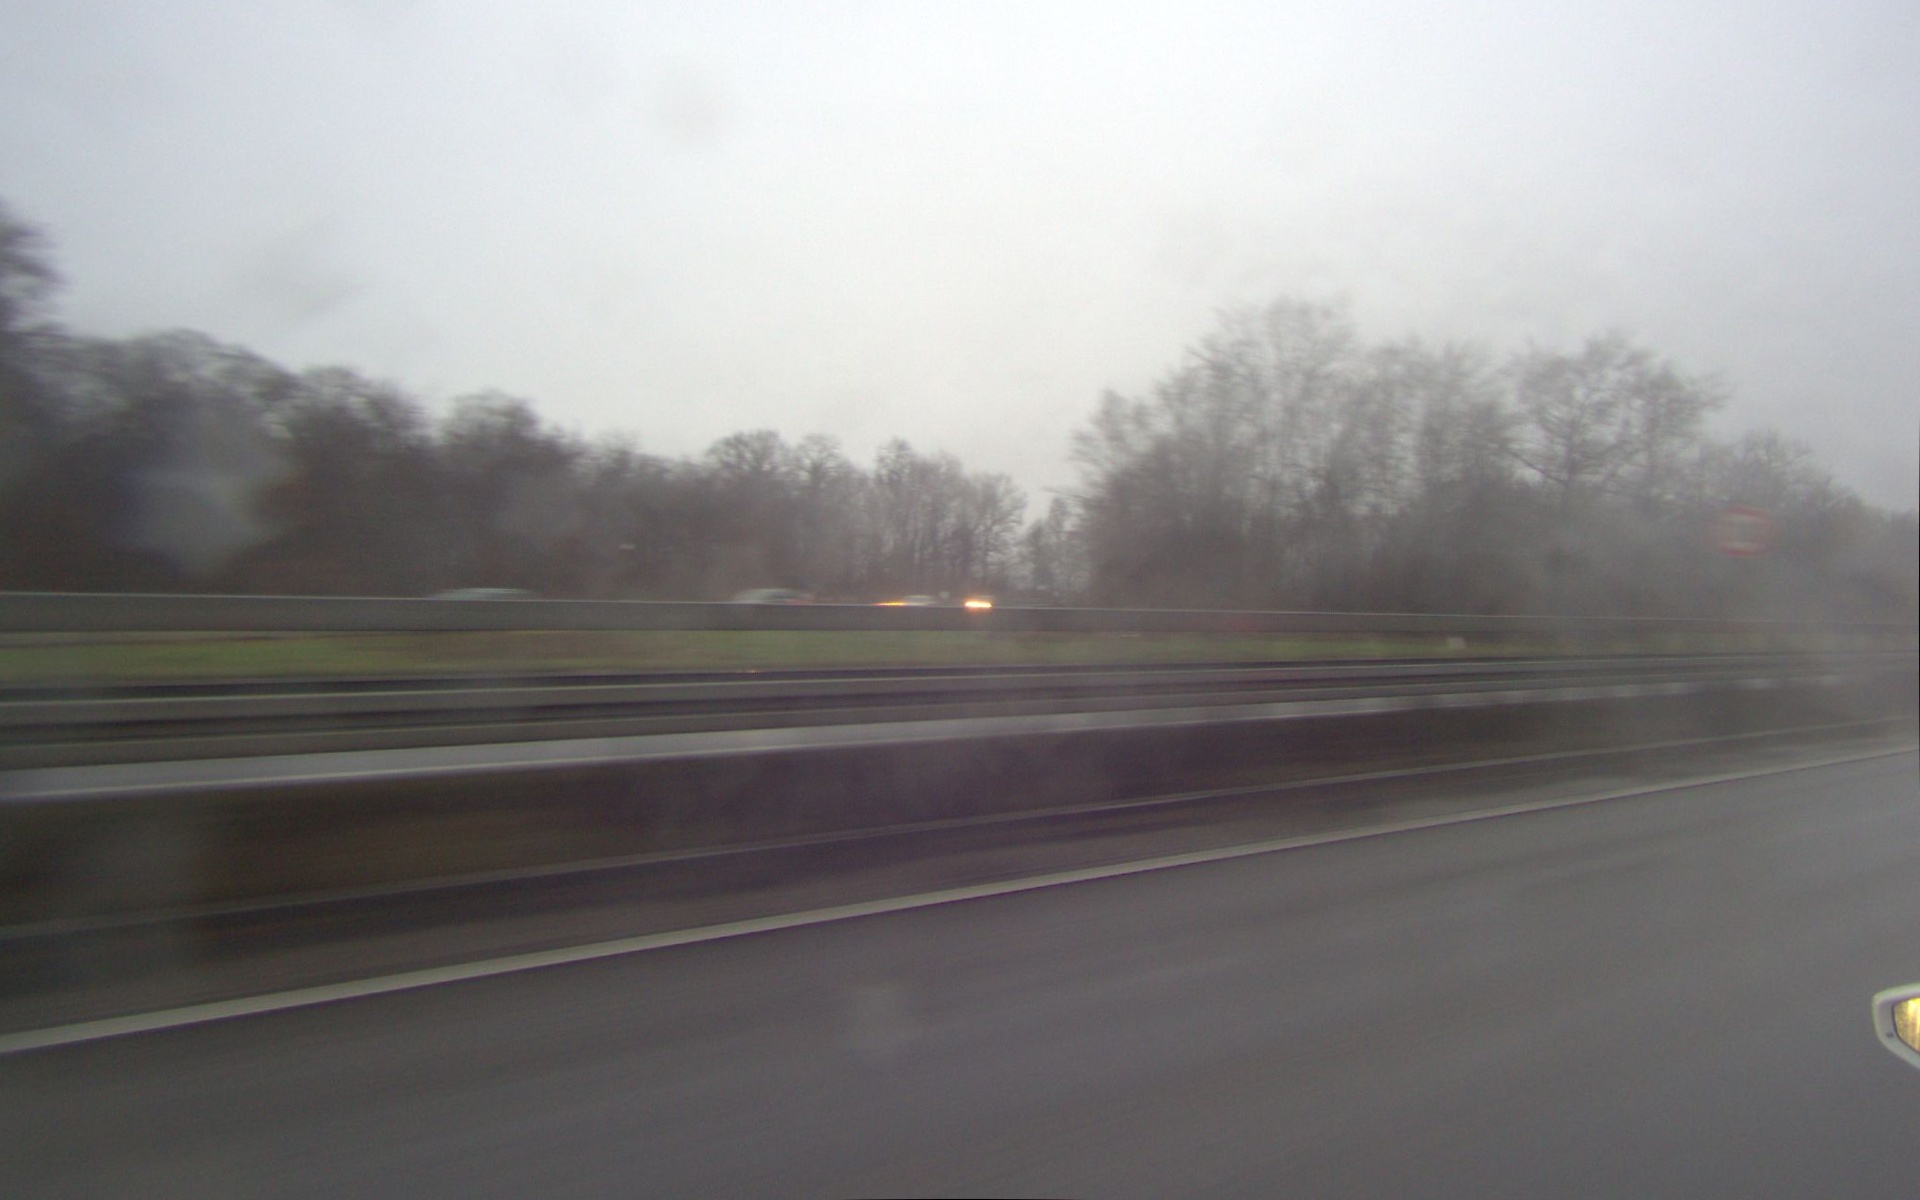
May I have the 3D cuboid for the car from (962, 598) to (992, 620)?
[{"bbox_3d":[1.486,0.787,87.189,1.704,1.807,3.865,0,-1,15],"label":"car"}]

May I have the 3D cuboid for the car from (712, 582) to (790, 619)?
[{"bbox_3d":[-10.190,0.038,49.347,1.960,1.734,4.000,1,0,19],"label":"car"}]

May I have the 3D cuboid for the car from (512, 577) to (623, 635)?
[{"bbox_3d":[-14.564,0.248,37.468,1.705,2.040,3.863,0,-1,20],"label":"car"}]

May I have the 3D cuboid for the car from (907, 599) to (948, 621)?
[{"bbox_3d":[-2.201,0.674,69.858,1.705,1.501,3.864,0,-1,17],"label":"car"}]
